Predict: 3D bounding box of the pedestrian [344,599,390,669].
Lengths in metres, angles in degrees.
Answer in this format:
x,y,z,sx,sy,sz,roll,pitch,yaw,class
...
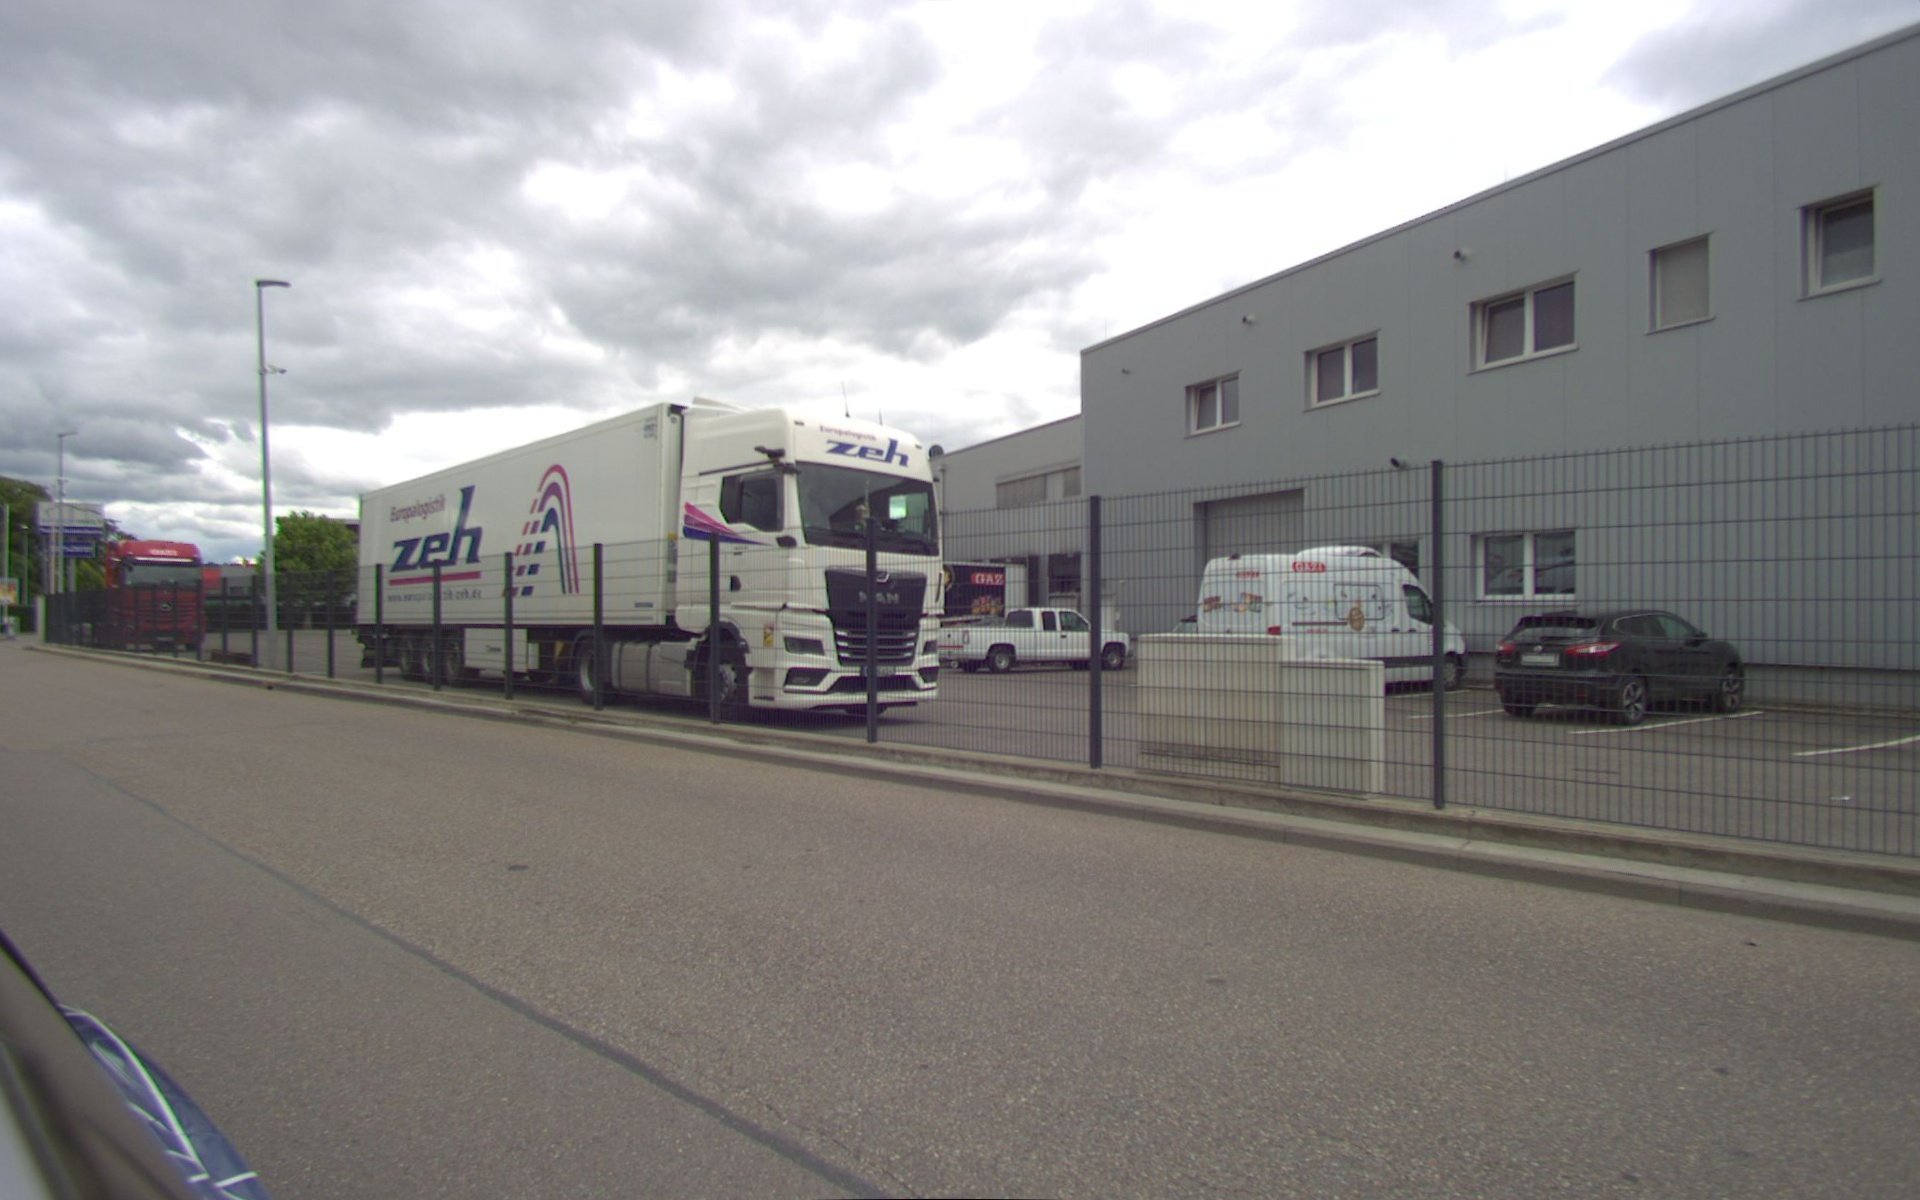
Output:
x,y,z,sx,sy,sz,roll,pitch,yaw,class
-16.005,0.906,27.316,0.879,1.834,0.795,-1,-1,38,pedestrian

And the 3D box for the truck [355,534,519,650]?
x,y,z,sx,sy,sz,roll,pitch,yaw,class
-20.288,-0.188,39.388,3.047,4.164,4.814,-1,-3,42,truck

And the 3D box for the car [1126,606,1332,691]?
x,y,z,sx,sy,sz,roll,pitch,yaw,class
5.824,0.991,21.884,4.010,1.589,1.950,-1,0,-28,car

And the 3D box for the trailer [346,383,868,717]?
x,y,z,sx,sy,sz,roll,pitch,yaw,class
-7.470,-0.487,18.745,13.855,4.192,3.321,-1,-3,45,trailer

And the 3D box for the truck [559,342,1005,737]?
x,y,z,sx,sy,sz,roll,pitch,yaw,class
-2.603,-0.556,13.883,5.630,4.192,3.321,-1,-3,45,truck

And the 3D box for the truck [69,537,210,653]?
x,y,z,sx,sy,sz,roll,pitch,yaw,class
-29.853,-0.084,36.756,5.668,3.878,2.982,-1,-3,41,truck

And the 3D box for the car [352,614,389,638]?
x,y,z,sx,sy,sz,roll,pitch,yaw,class
-43.803,1.893,75.166,1.967,1.730,4.009,0,-1,-36,car

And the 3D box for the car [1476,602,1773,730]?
x,y,z,sx,sy,sz,roll,pitch,yaw,class
9.903,0.881,15.065,4.010,1.589,1.950,-1,0,-28,car

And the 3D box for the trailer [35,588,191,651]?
x,y,z,sx,sy,sz,roll,pitch,yaw,class
-34.260,0.802,40.663,12.043,2.209,3.006,-1,-3,42,trailer

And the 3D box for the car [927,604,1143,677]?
x,y,z,sx,sy,sz,roll,pitch,yaw,class
2.078,1.087,27.232,5.595,1.823,1.950,2,-2,-28,car

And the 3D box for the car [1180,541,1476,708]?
x,y,z,sx,sy,sz,roll,pitch,yaw,class
6.949,0.369,18.972,5.341,2.751,2.248,-1,-1,-30,car

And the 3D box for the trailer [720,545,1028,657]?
x,y,z,sx,sy,sz,roll,pitch,yaw,class
-3.451,0.238,43.663,12.962,4.245,3.058,2,-2,-27,trailer
